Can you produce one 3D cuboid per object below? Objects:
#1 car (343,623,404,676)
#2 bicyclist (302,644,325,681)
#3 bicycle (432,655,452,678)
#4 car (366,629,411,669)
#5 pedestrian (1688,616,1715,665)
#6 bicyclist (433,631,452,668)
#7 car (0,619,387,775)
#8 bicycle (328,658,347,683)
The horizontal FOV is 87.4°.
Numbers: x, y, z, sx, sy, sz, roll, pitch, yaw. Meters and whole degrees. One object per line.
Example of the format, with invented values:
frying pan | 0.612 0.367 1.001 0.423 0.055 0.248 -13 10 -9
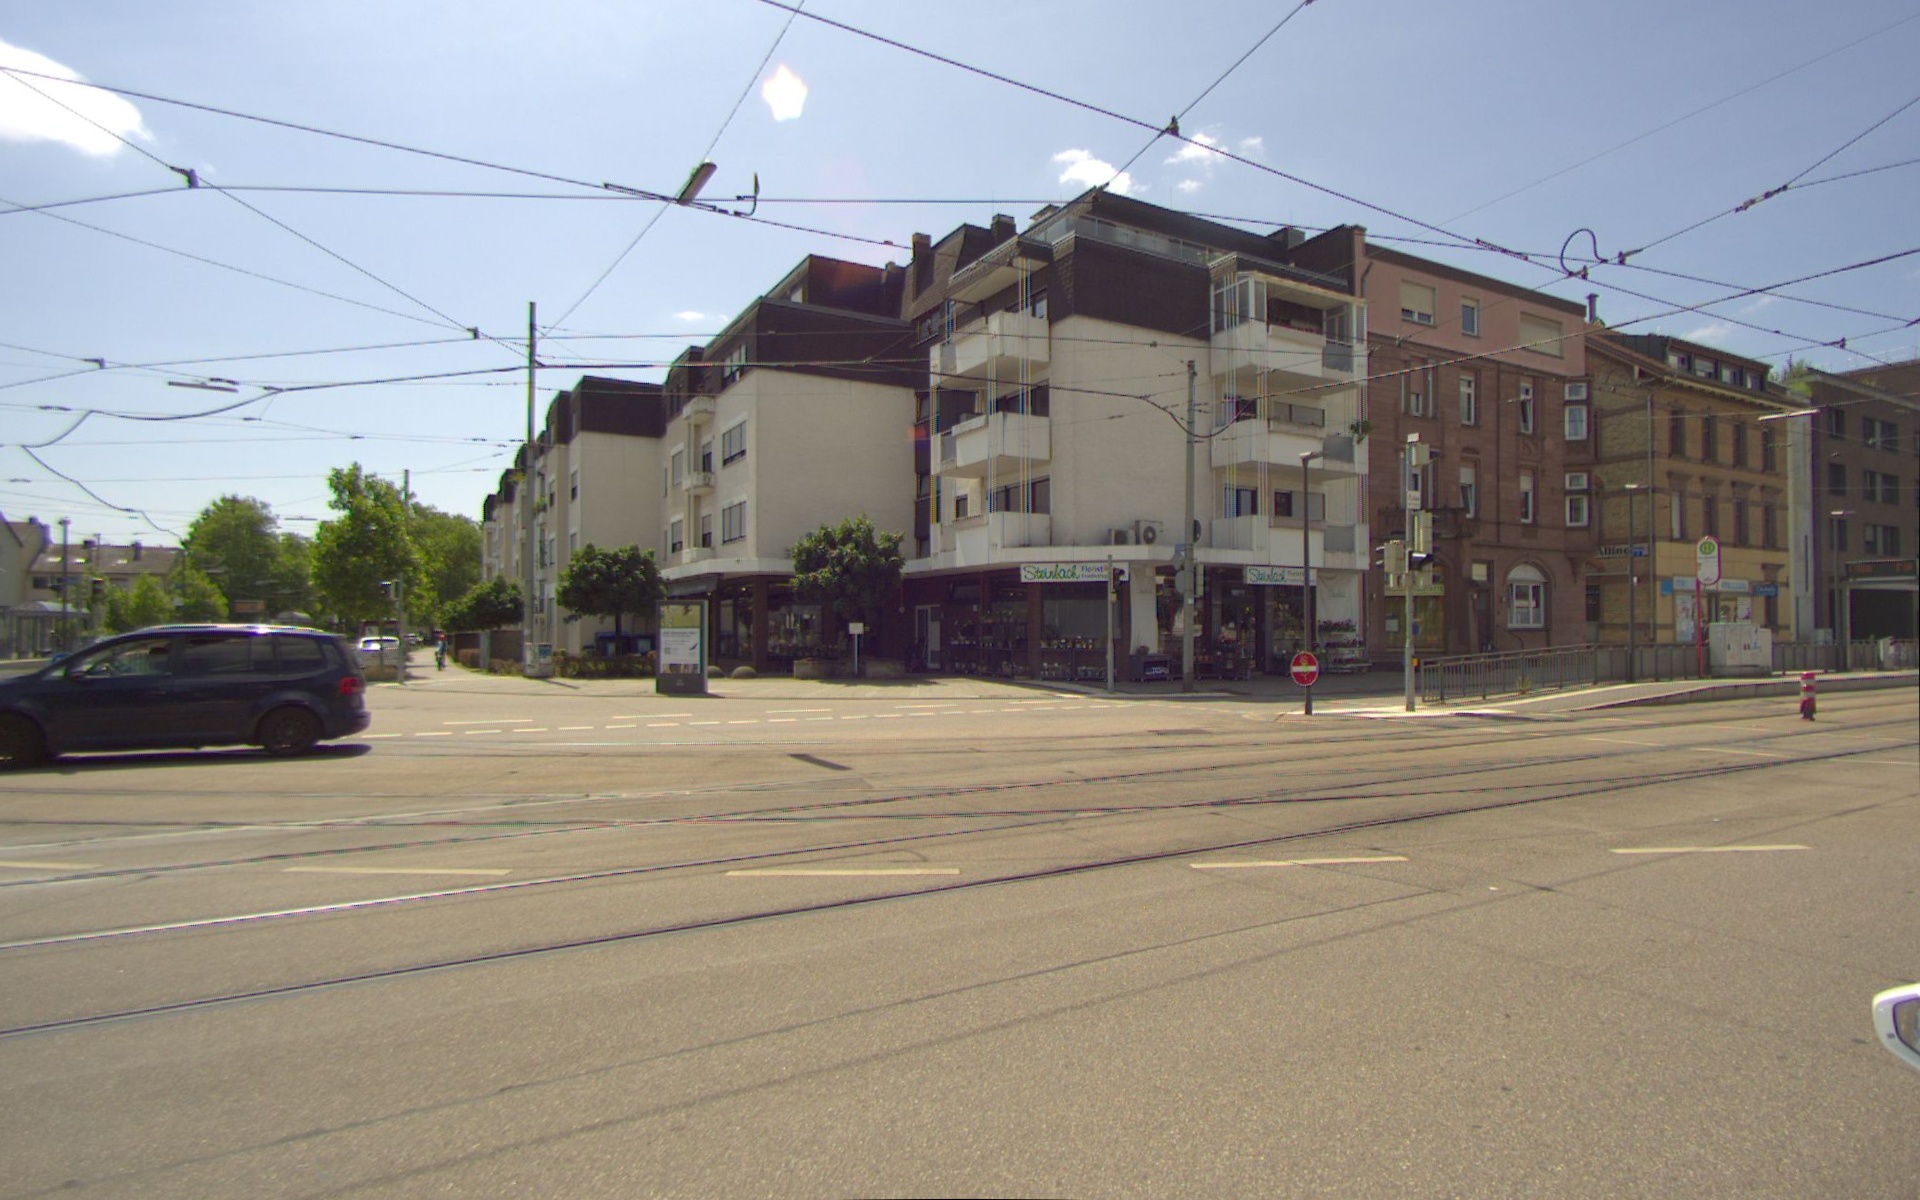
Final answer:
car | -23.000 1.927 39.399 1.977 1.937 3.968 1 -2 -31
bicyclist | -25.779 2.502 40.081 0.623 1.441 0.958 1 -4 -27
bicycle | -21.677 2.784 42.038 0.663 0.946 2.241 1 -4 -29
car | -31.029 2.652 54.632 1.975 2.040 3.972 0 -2 -28
pedestrian | 31.247 1.714 42.329 0.801 2.040 0.614 1 -2 -32
bicyclist | -21.651 2.079 42.037 0.648 1.487 0.843 1 -4 -29
car | -9.626 1.117 12.590 4.229 1.705 1.716 1 -2 -30
bicycle | -27.892 3.167 45.023 0.510 1.115 2.243 1 -4 -27
